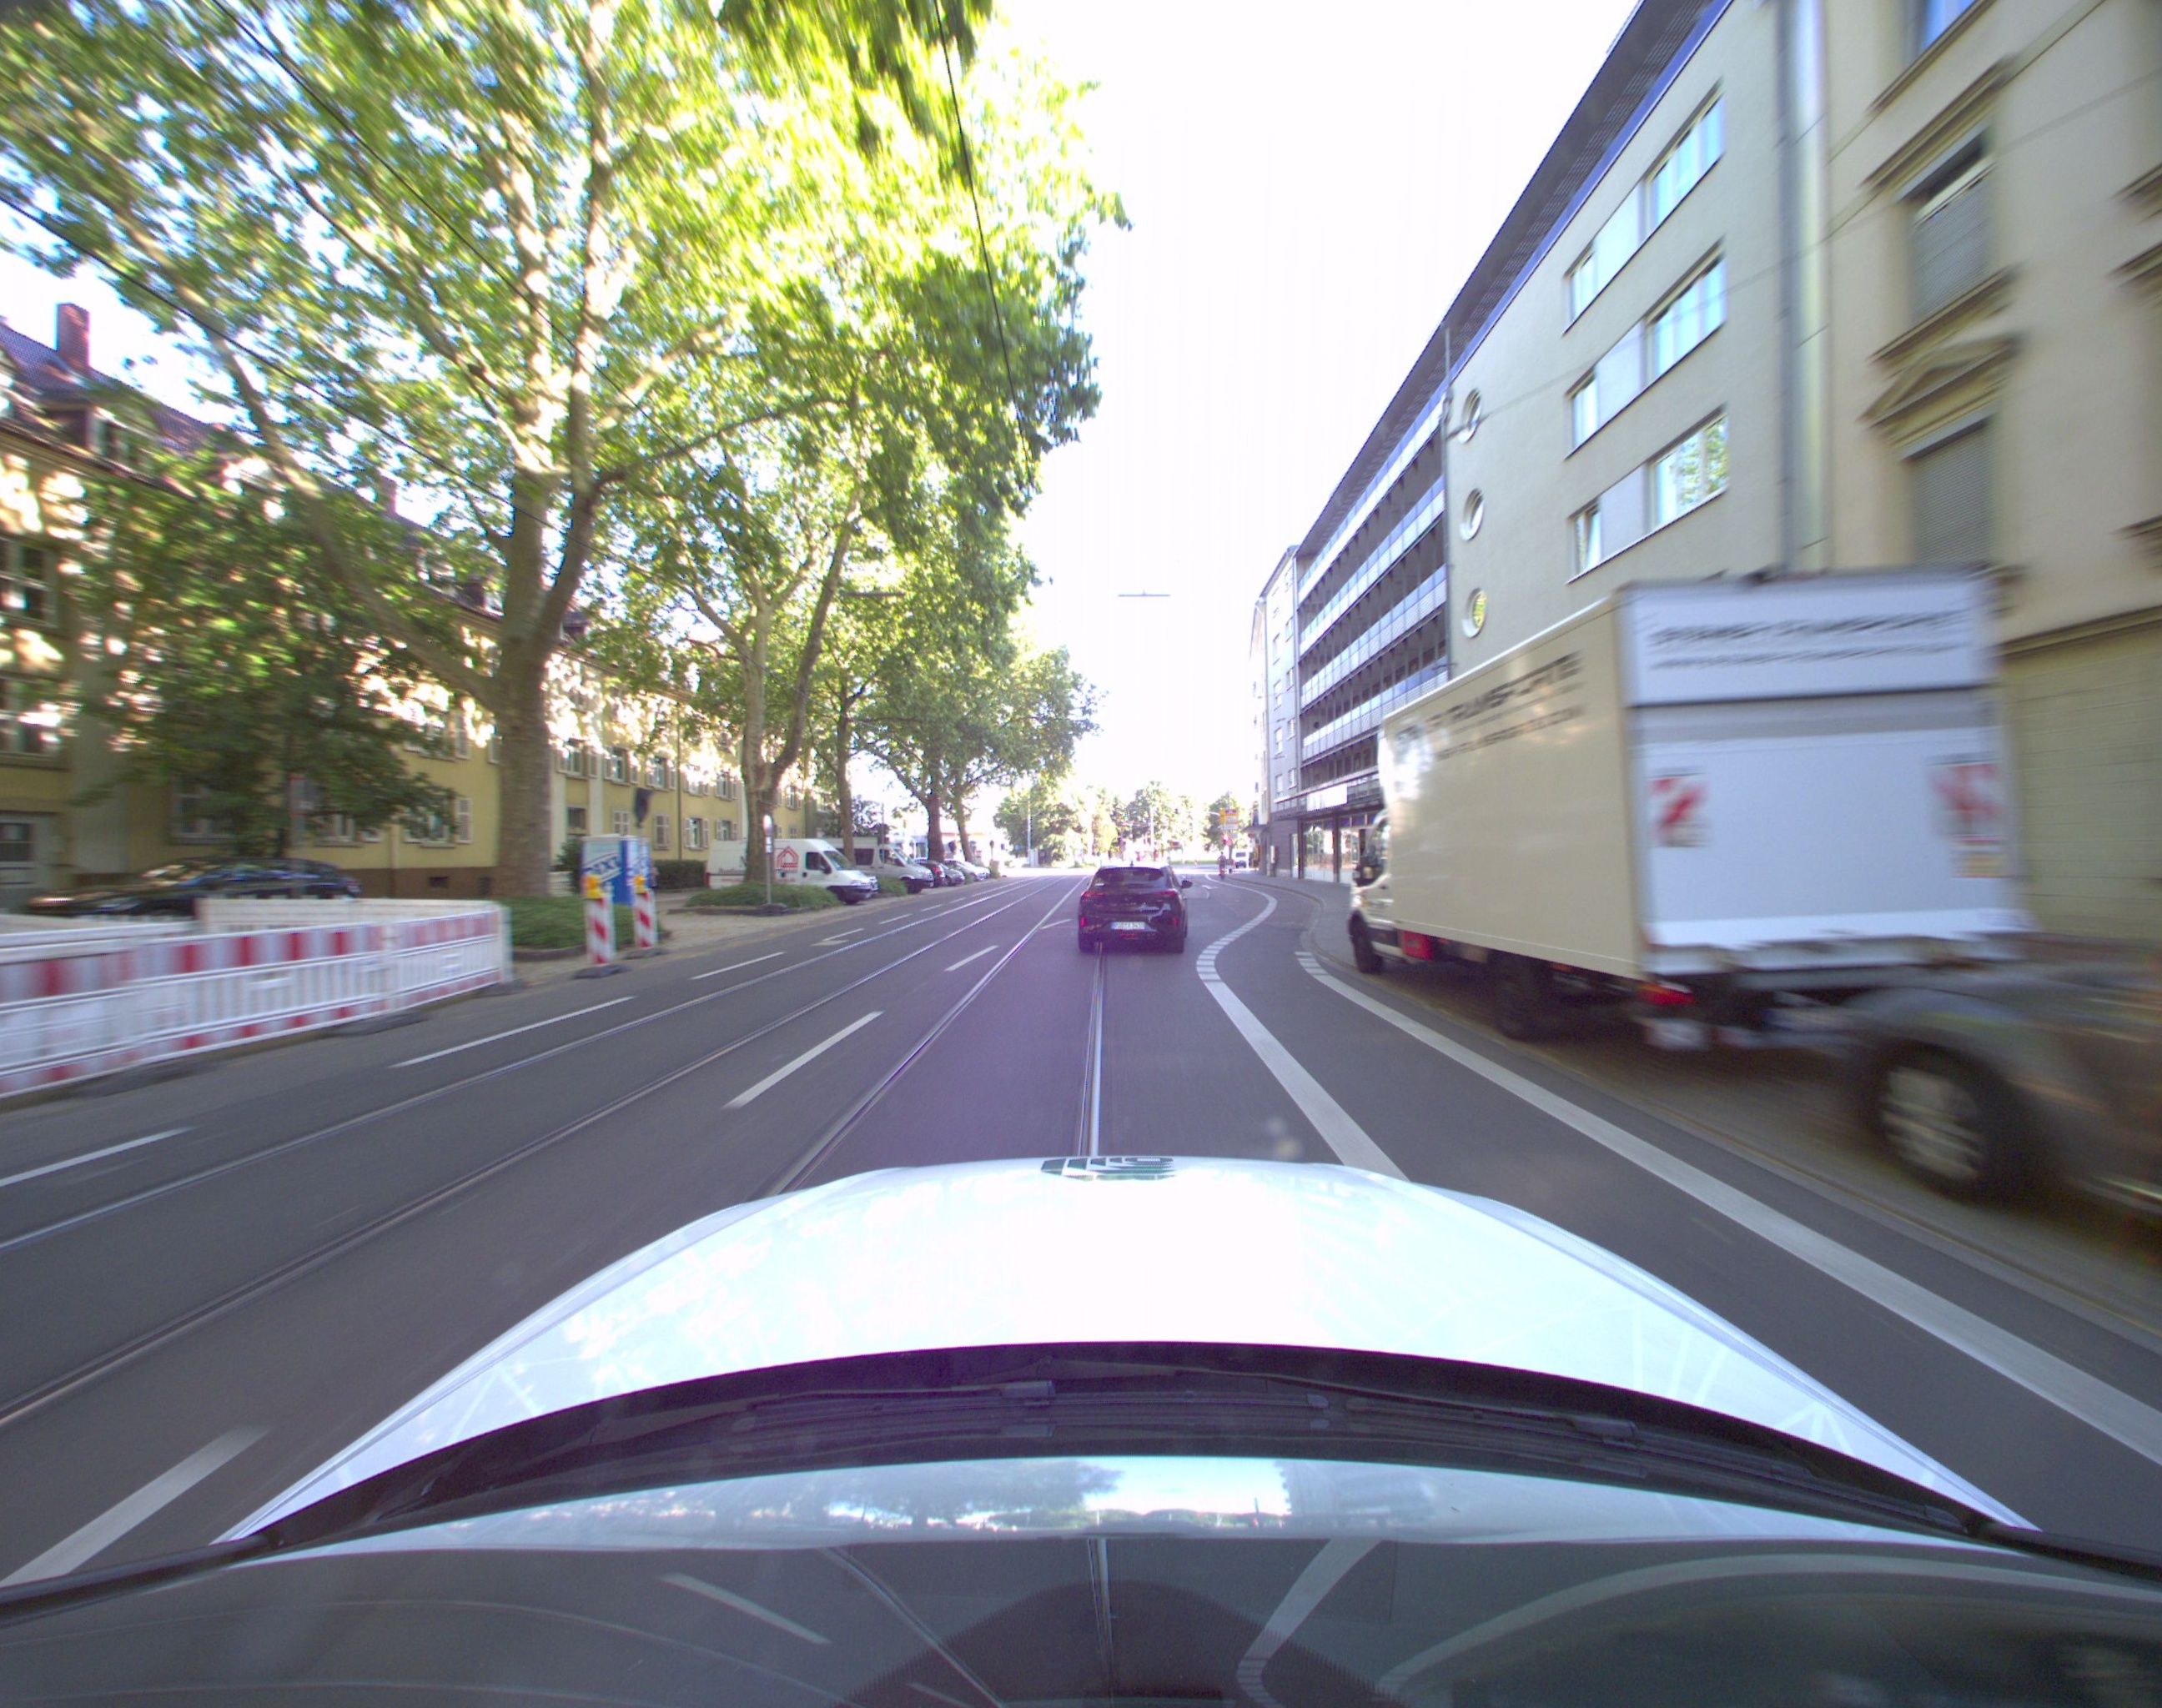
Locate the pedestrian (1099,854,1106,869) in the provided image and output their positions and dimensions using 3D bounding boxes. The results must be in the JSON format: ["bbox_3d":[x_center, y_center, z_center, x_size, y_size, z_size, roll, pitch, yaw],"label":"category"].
[{"bbox_3d":[2.810,0.956,107.803,0.651,1.932,0.613,0,-1,33],"label":"pedestrian"}]

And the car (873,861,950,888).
[{"bbox_3d":[-9.620,1.146,46.309,3.971,1.515,1.651,0,-1,2],"label":"car"}]

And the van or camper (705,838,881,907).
[{"bbox_3d":[-10.217,0.632,29.172,5.475,2.379,2.273,0,-1,5],"label":"van or camper"}]

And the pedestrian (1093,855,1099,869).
[{"bbox_3d":[1.976,1.001,107.712,0.610,1.853,0.587,0,-1,27],"label":"pedestrian"}]

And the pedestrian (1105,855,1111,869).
[{"bbox_3d":[3.630,1.006,108.009,0.610,1.853,0.587,0,-1,26],"label":"pedestrian"}]

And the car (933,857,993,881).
[{"bbox_3d":[-8.804,1.103,60.969,4.156,1.671,1.963,-1,0,-2],"label":"car"}]

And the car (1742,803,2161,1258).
[{"bbox_3d":[4.586,0.568,2.391,1.727,1.557,4.147,-3,0,-3],"label":"car"}]

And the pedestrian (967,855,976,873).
[{"bbox_3d":[-13.420,1.211,99.859,0.824,2.220,0.890,1,-1,-33],"label":"pedestrian"}]

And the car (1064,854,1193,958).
[{"bbox_3d":[0.959,0.769,14.017,1.770,1.496,4.011,0,0,10],"label":"car"}]

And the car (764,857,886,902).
[{"bbox_3d":[-9.989,0.976,32.079,4.156,1.671,1.963,-1,0,-2],"label":"car"}]

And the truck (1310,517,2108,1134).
[{"bbox_3d":[4.537,-0.144,8.202,2.528,3.338,7.199,-4,0,2],"label":"truck"}]

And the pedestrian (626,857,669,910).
[{"bbox_3d":[-13.449,0.902,25.267,0.756,1.612,0.891,1,0,10],"label":"pedestrian"}]

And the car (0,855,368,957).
[{"bbox_3d":[-16.154,0.808,14.970,1.780,1.571,4.529,1,0,7],"label":"car"}]

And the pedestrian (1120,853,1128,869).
[{"bbox_3d":[3.722,0.638,70.515,0.649,1.363,0.646,-1,0,8],"label":"pedestrian"}]

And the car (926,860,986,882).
[{"bbox_3d":[-8.864,1.218,57.832,3.971,1.515,1.651,0,-1,2],"label":"car"}]

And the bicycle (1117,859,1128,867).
[{"bbox_3d":[5.042,1.083,98.201,0.782,0.992,2.254,0,0,18],"label":"bicycle"}]

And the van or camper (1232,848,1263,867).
[{"bbox_3d":[19.734,0.395,96.549,2.147,2.146,4.534,0,-1,32],"label":"van or camper"}]

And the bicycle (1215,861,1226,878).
[{"bbox_3d":[8.760,0.963,51.147,0.504,1.067,1.570,-1,0,14],"label":"bicycle"}]

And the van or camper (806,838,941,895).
[{"bbox_3d":[-9.716,0.577,38.486,5.701,2.644,2.270,0,-1,2],"label":"van or camper"}]

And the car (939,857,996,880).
[{"bbox_3d":[-8.821,1.130,63.406,4.156,1.671,1.963,-2,0,-2],"label":"car"}]

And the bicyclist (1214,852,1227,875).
[{"bbox_3d":[8.773,0.605,51.191,0.701,1.435,0.705,-1,-1,14],"label":"bicyclist"}]

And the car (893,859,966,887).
[{"bbox_3d":[-9.041,1.110,48.829,3.971,1.651,1.651,0,-1,2],"label":"car"}]
